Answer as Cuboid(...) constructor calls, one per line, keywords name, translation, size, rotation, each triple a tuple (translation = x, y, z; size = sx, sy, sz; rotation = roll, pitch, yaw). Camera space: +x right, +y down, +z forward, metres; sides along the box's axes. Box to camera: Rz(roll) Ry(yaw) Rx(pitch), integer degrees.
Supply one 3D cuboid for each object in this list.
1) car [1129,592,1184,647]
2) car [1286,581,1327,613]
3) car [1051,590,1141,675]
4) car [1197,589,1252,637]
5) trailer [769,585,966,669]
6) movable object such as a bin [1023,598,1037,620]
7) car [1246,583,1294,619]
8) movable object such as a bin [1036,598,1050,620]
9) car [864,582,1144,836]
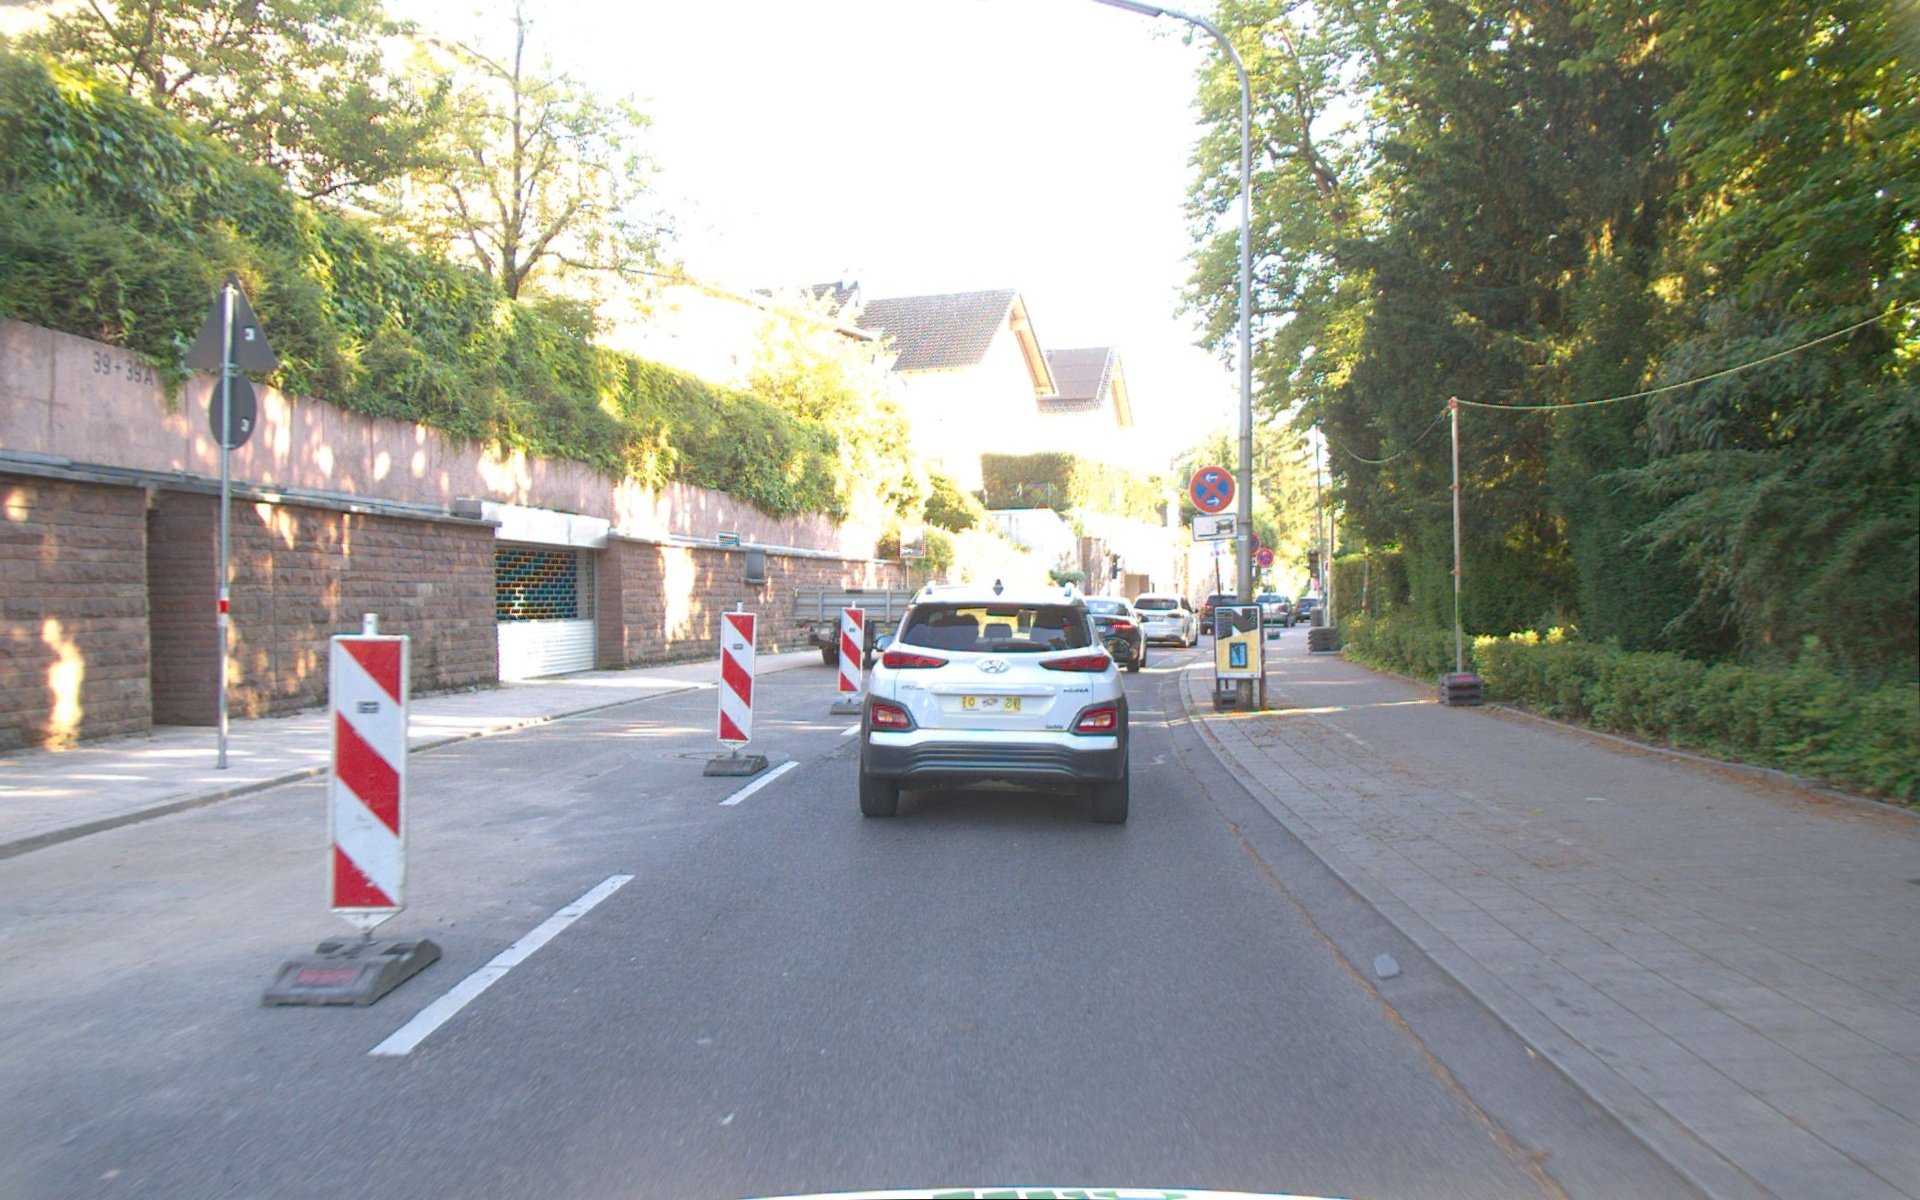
Cuboid(name="car", translation=(5.732, 0.539, 48.425), size=(1.537, 1.503, 3.550), rotation=(0, 1, 6))
Cuboid(name="car", translation=(19.260, -0.178, 91.750), size=(1.659, 1.530, 3.632), rotation=(-4, 0, 20))
Cuboid(name="car", translation=(2.797, 0.610, 33.491), size=(1.479, 1.560, 3.551), rotation=(-2, 0, 10))
Cuboid(name="car", translation=(10.218, 0.473, 63.708), size=(1.658, 1.559, 3.885), rotation=(-5, 0, 14))
Cuboid(name="trailer", translation=(-1.686, 0.458, 33.588), size=(2.583, 1.515, 7.125), rotation=(0, 0, 9))
Cuboid(name="movable object such as a bin", translation=(2.765, 0.371, 65.282), size=(0.444, 0.848, 0.392), rotation=(-1, 0, 18))
Cuboid(name="car", translation=(14.820, 0.047, 78.908), size=(1.658, 1.472, 3.884), rotation=(-4, 0, 18))
Cuboid(name="movable object such as a bin", translation=(3.375, 0.354, 67.217), size=(0.446, 0.899, 0.501), rotation=(0, 1, 18))
Cuboid(name="car", translation=(0.310, 0.656, 12.254), size=(1.735, 1.569, 4.001), rotation=(0, 1, 1))
